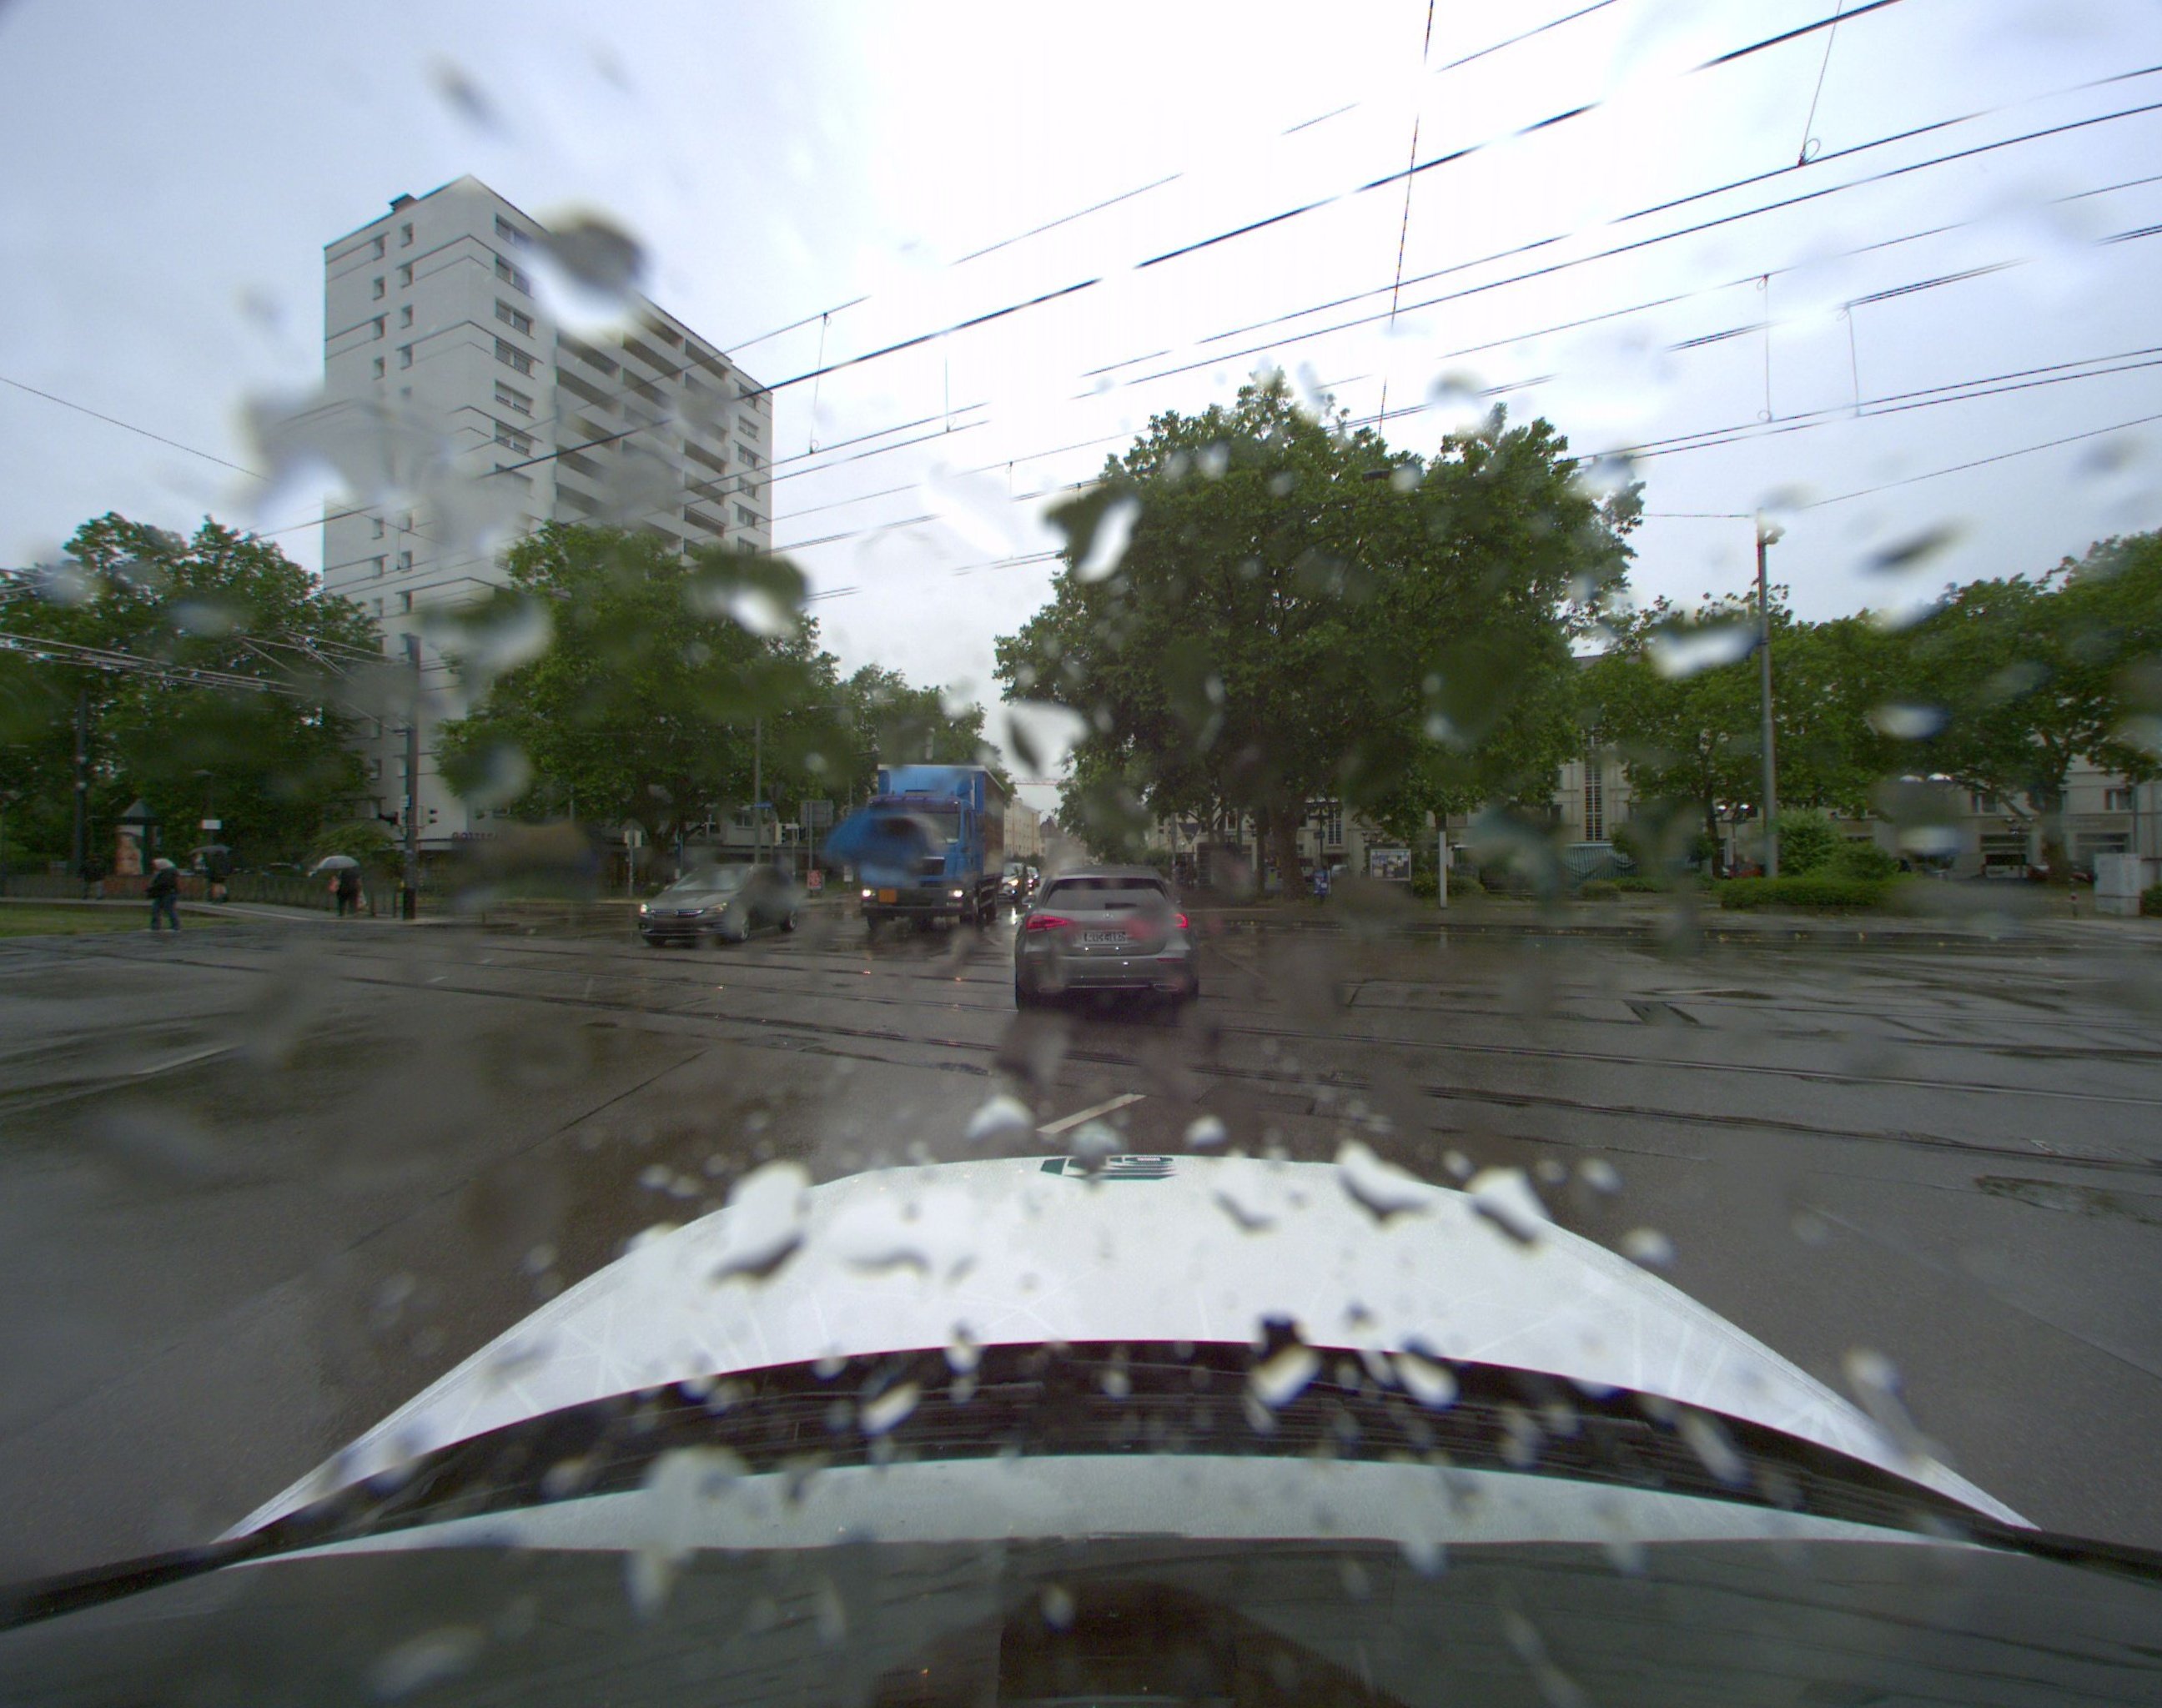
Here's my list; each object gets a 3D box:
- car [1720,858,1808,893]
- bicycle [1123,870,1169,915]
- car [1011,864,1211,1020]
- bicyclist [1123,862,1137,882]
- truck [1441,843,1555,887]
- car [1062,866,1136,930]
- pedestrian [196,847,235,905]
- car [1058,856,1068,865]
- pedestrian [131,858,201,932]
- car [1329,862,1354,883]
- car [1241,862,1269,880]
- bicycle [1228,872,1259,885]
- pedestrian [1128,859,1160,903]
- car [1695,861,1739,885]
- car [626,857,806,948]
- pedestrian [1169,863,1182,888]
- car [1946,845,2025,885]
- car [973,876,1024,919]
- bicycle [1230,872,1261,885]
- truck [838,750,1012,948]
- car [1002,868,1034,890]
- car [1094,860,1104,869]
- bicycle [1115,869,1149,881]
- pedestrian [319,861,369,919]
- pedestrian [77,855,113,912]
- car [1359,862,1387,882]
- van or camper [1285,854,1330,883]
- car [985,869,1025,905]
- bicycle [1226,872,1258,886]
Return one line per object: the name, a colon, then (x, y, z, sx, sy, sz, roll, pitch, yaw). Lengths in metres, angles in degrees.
car: (31.480, 0.980, 37.681, 1.651, 1.522, 3.692, -1, -1, 14)
bicycle: (2.202, 1.242, 27.068, 0.743, 1.377, 2.721, -2, -1, 21)
car: (0.250, 0.815, 9.065, 1.786, 1.372, 3.505, 1, -1, -1)
bicyclist: (4.814, 1.776, 79.847, 0.941, 1.869, 1.135, 0, -4, -19)
truck: (26.996, 0.756, 53.014, 6.326, 2.700, 2.279, -1, -2, 20)
car: (0.366, 0.998, 19.952, 1.602, 1.372, 3.998, -1, -1, -1)
pedestrian: (-27.706, 0.703, 26.066, 0.671, 1.838, 0.643, -2, -1, 22)
car: (-3.957, 1.465, 181.956, 1.882, 1.836, 4.003, -1, -1, 3)
pedestrian: (-20.925, 0.931, 18.632, 0.829, 1.648, 0.759, -2, -1, 14)
car: (20.059, 1.410, 62.647, 1.665, 1.575, 3.754, -1, -2, 20)
car: (13.974, 1.402, 65.175, 1.568, 1.337, 3.279, -1, -3, 23)
bicycle: (12.171, 1.866, 61.040, 2.232, 0.968, 0.537, -1, -1, 22)
pedestrian: (2.087, 0.880, 26.821, 0.737, 1.398, 1.052, -2, -1, 21)
car: (42.551, 1.294, 54.558, 1.535, 1.467, 3.385, -1, -3, 24)
car: (-7.120, 0.874, 16.418, 1.721, 1.546, 4.337, -1, -1, -1)
pedestrian: (6.313, 1.444, 54.388, 0.715, 1.669, 0.664, 0, -1, -6)
car: (53.760, 0.688, 48.495, 1.535, 2.204, 4.120, -1, -3, 24)
car: (-3.380, 1.760, 34.091, 1.737, 1.604, 3.998, 0, -1, 0)
bicycle: (12.476, 1.843, 61.645, 2.227, 0.968, 0.588, -1, -1, 22)
truck: (-3.656, -0.047, 21.947, 2.838, 4.025, 10.309, -1, -1, -1)
car: (-4.130, 1.640, 53.827, 1.737, 1.390, 4.360, 1, -2, 0)
car: (3.824, 2.322, 174.608, 2.038, 1.836, 4.795, -1, -1, 3)
bicycle: (4.998, 2.099, 79.943, 3.216, 1.112, 1.047, 0, -3, -20)
pedestrian: (-21.677, 1.054, 23.971, 0.807, 1.648, 0.798, -2, -1, 22)
pedestrian: (-36.744, 1.085, 30.346, 0.694, 2.077, 0.640, -1, -1, 18)
car: (22.411, 1.418, 62.429, 1.664, 1.432, 3.756, -1, -3, 25)
van or camper: (17.814, 1.138, 63.831, 2.374, 2.231, 5.461, -1, -1, 27)
car: (-4.118, 1.741, 44.463, 1.801, 1.862, 4.108, 0, -1, 0)
bicycle: (11.937, 1.841, 60.429, 2.261, 0.983, 0.548, -1, -1, 22)
